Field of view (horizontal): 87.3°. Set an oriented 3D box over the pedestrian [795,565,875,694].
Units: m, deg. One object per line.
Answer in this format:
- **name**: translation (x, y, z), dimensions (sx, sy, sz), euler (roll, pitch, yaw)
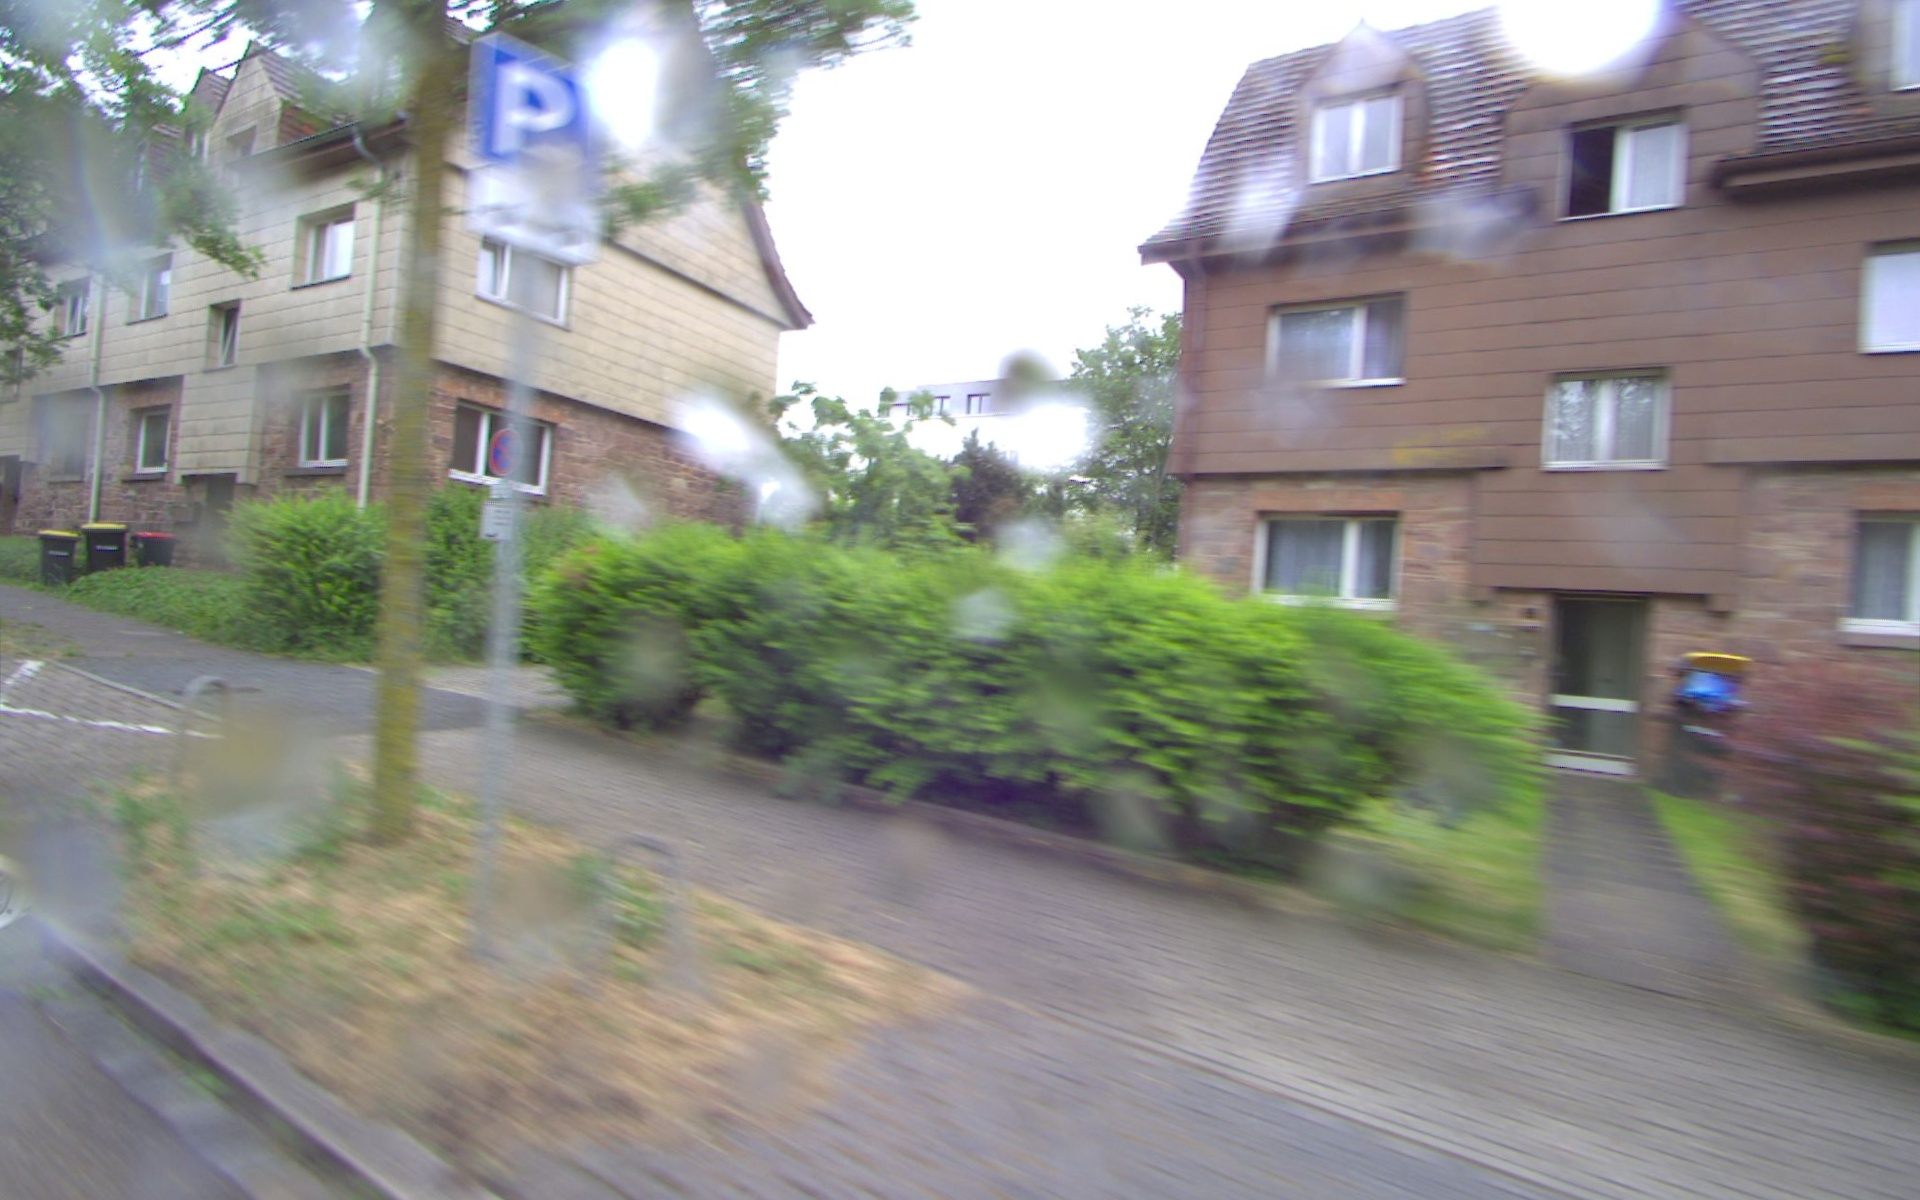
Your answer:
- **pedestrian**: translation (-1.743, 0.417, 14.104), dimensions (0.643, 1.701, 0.707), euler (7, 2, 37)
